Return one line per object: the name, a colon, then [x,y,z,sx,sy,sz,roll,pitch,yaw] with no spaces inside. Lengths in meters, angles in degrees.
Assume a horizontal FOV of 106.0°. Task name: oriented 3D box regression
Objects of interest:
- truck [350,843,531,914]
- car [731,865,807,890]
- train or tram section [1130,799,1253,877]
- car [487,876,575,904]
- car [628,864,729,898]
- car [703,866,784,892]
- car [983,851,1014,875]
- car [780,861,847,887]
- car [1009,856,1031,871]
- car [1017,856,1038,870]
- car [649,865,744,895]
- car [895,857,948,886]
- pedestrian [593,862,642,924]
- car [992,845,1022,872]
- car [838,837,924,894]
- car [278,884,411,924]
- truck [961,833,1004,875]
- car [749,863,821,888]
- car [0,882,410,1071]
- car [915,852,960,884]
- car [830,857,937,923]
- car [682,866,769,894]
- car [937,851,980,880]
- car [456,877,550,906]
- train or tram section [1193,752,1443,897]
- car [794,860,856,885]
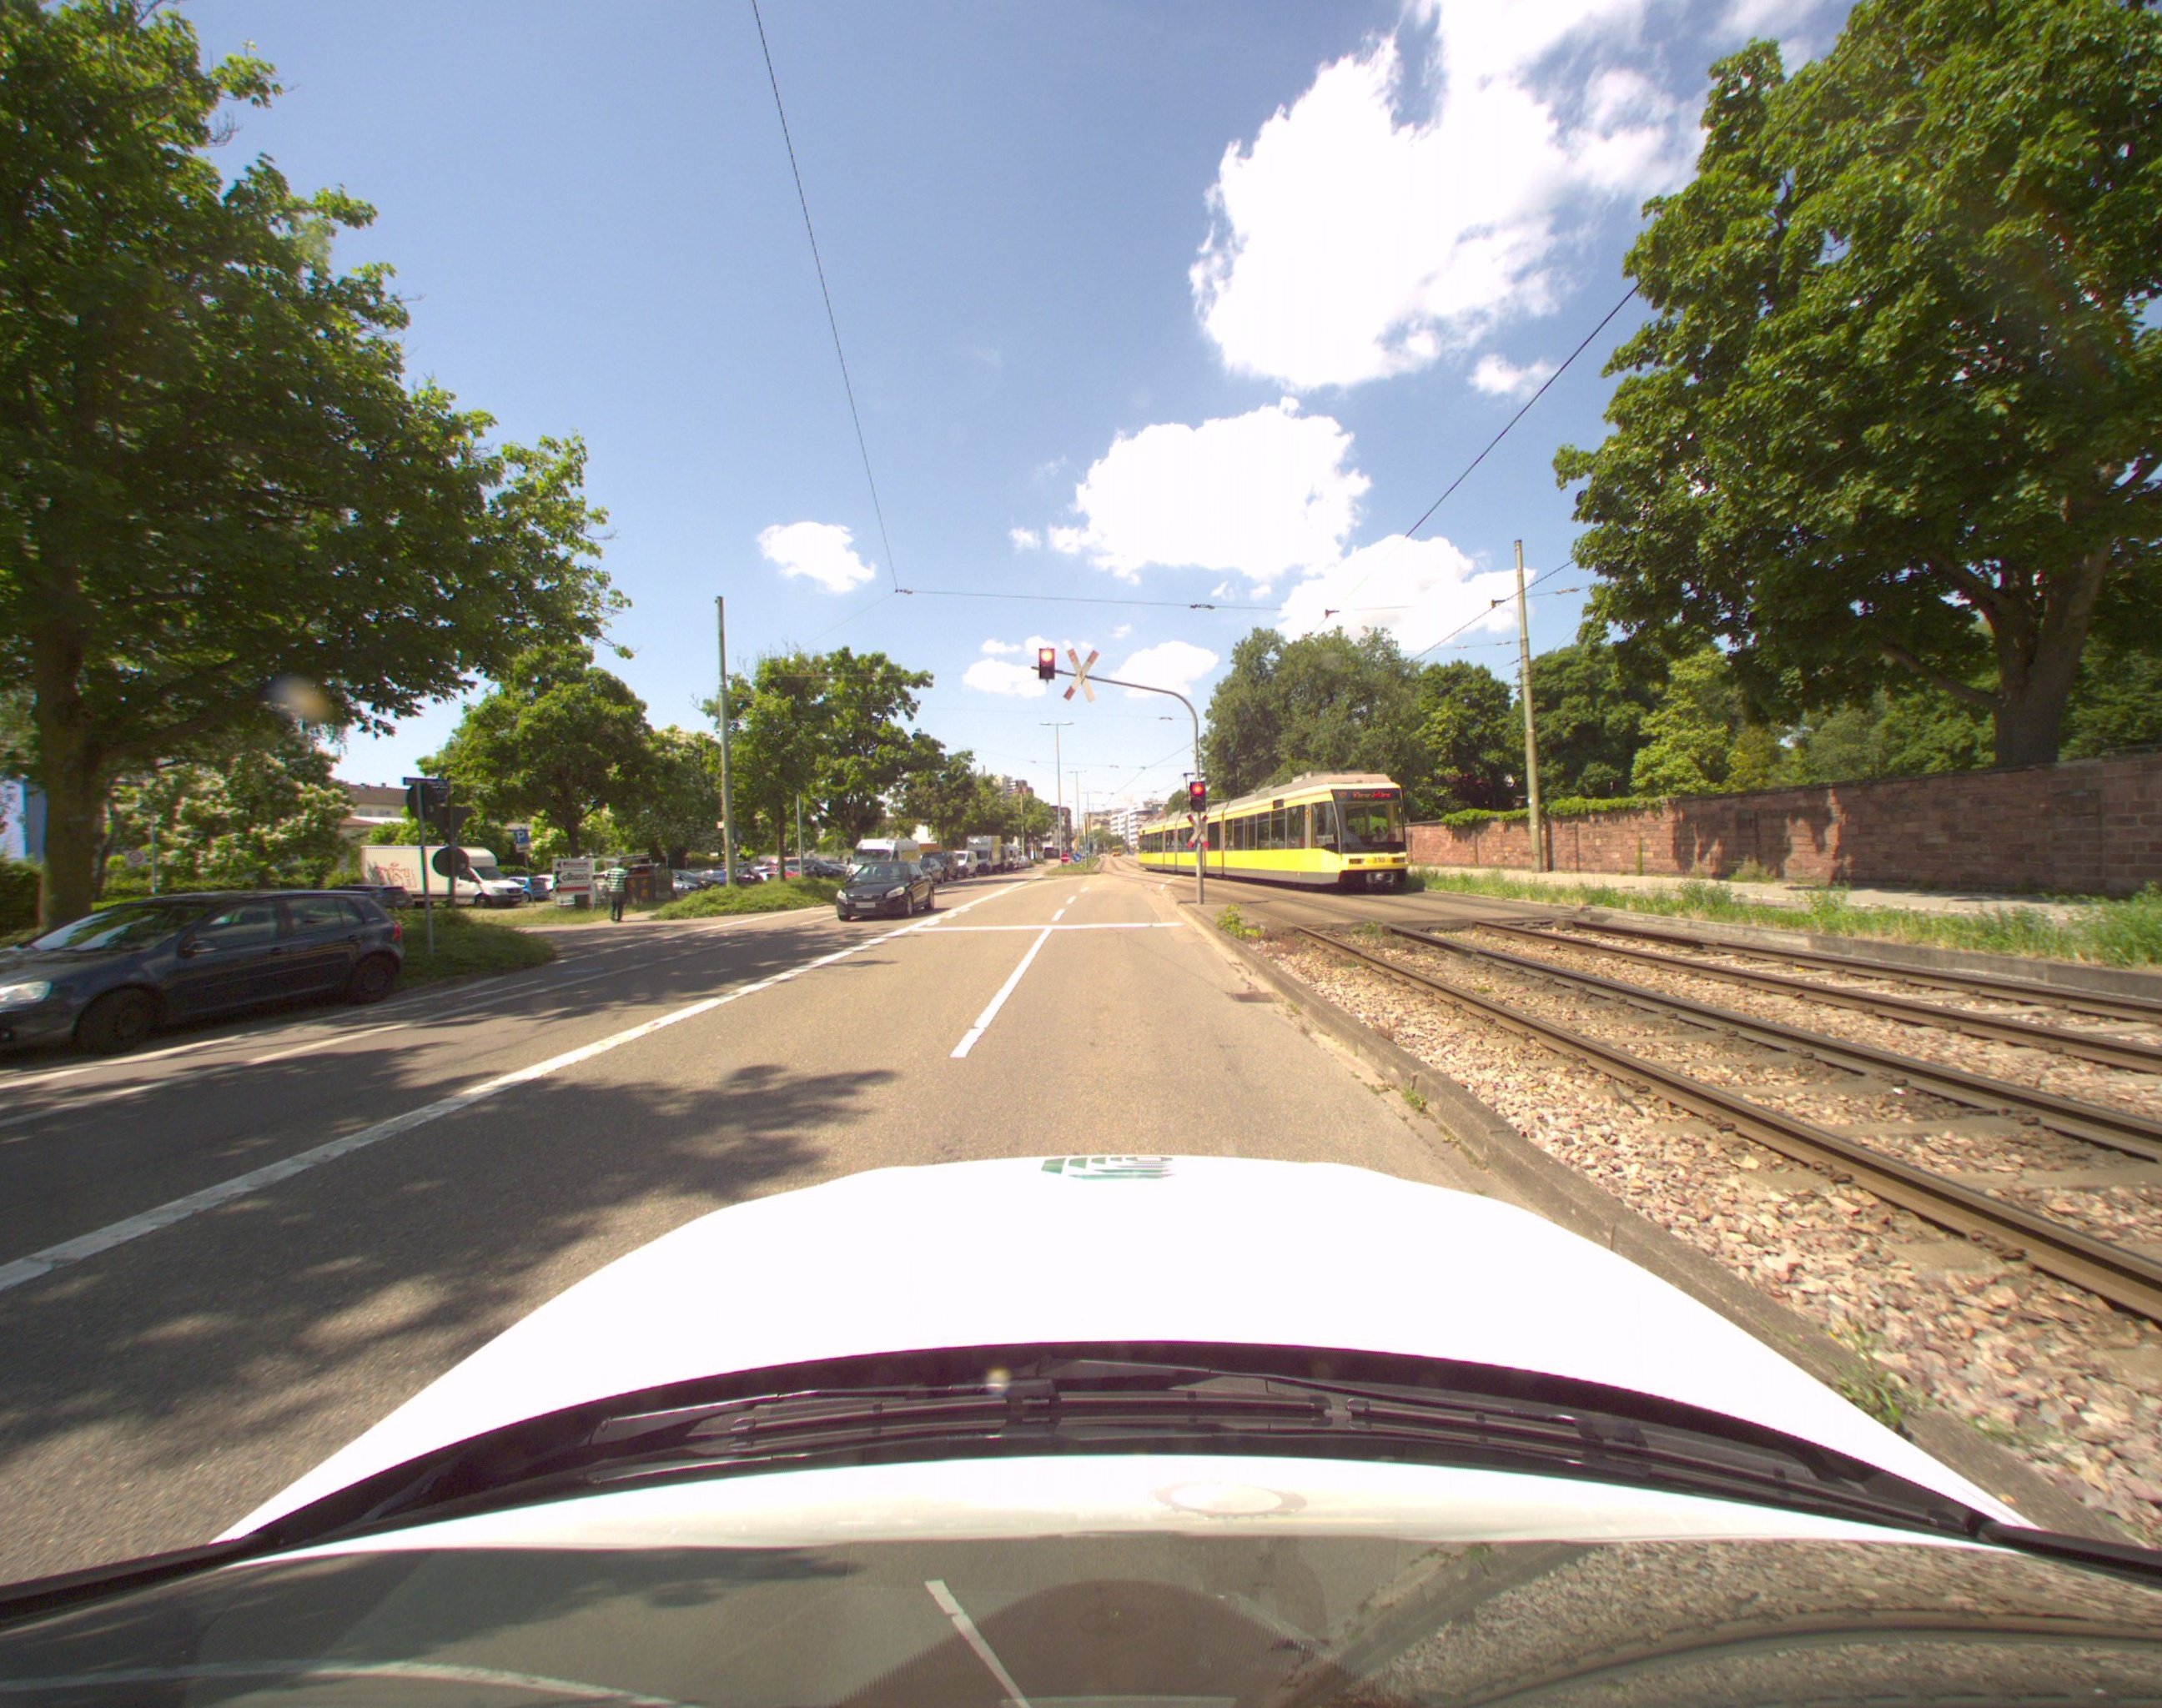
truck: [-32.343,1.217,41.303,7.165,3.227,2.332,-2,0,-1]
car: [-19.485,1.466,51.009,3.973,1.339,1.805,-2,0,0]
train or tram section: [5.923,-0.840,49.159,2.939,3.692,20.247,-1,0,-5]
car: [-32.961,2.126,48.882,3.973,1.442,1.805,-2,0,0]
car: [-19.655,1.318,39.924,3.973,1.442,1.805,-2,0,0]
car: [-20.020,1.452,48.457,3.973,1.339,1.805,-2,0,0]
car: [-7.551,0.794,74.584,2.053,1.976,4.874,-2,0,2]
car: [-18.452,1.344,56.290,3.973,1.606,1.805,-2,0,0]
car: [-7.138,1.086,95.736,2.053,1.582,4.874,-2,0,2]
car: [-6.801,1.108,103.330,2.053,1.582,4.874,-2,0,2]
car: [-19.943,1.346,42.351,3.973,1.339,1.805,-2,0,0]
car: [-8.918,0.957,45.901,1.861,1.437,4.345,-2,0,2]
pedestrian: [-14.207,1.190,24.965,0.971,1.823,0.794,-2,0,-1]
car: [-7.427,0.414,82.108,2.147,2.639,5.618,0,0,4]
car: [-9.416,0.498,38.926,2.147,2.487,6.200,0,0,4]
car: [-31.337,2.110,34.748,3.974,1.399,1.773,-2,0,0]
truck: [-8.034,-0.014,67.074,2.147,3.210,7.090,1,0,4]
car: [-19.348,1.394,53.356,3.973,1.442,1.805,-2,0,1]
car: [-10.118,1.136,9.116,1.768,1.481,4.049,0,0,2]
car: [-9.061,0.846,51.811,1.861,1.895,4.273,-2,0,2]
car: [-5.014,0.858,21.227,1.672,1.398,4.006,-4,0,1]
car: [-19.953,1.450,45.816,3.973,1.339,1.805,-2,0,0]
car: [-8.716,0.810,58.490,2.053,1.898,4.874,-2,0,2]
car: [-32.694,2.102,46.114,3.973,1.442,1.805,-2,0,0]
train or tram section: [7.356,-0.824,30.066,2.937,3.692,18.368,-1,0,-3]
car: [-19.024,1.372,60.668,3.973,1.606,1.805,-2,0,0]
